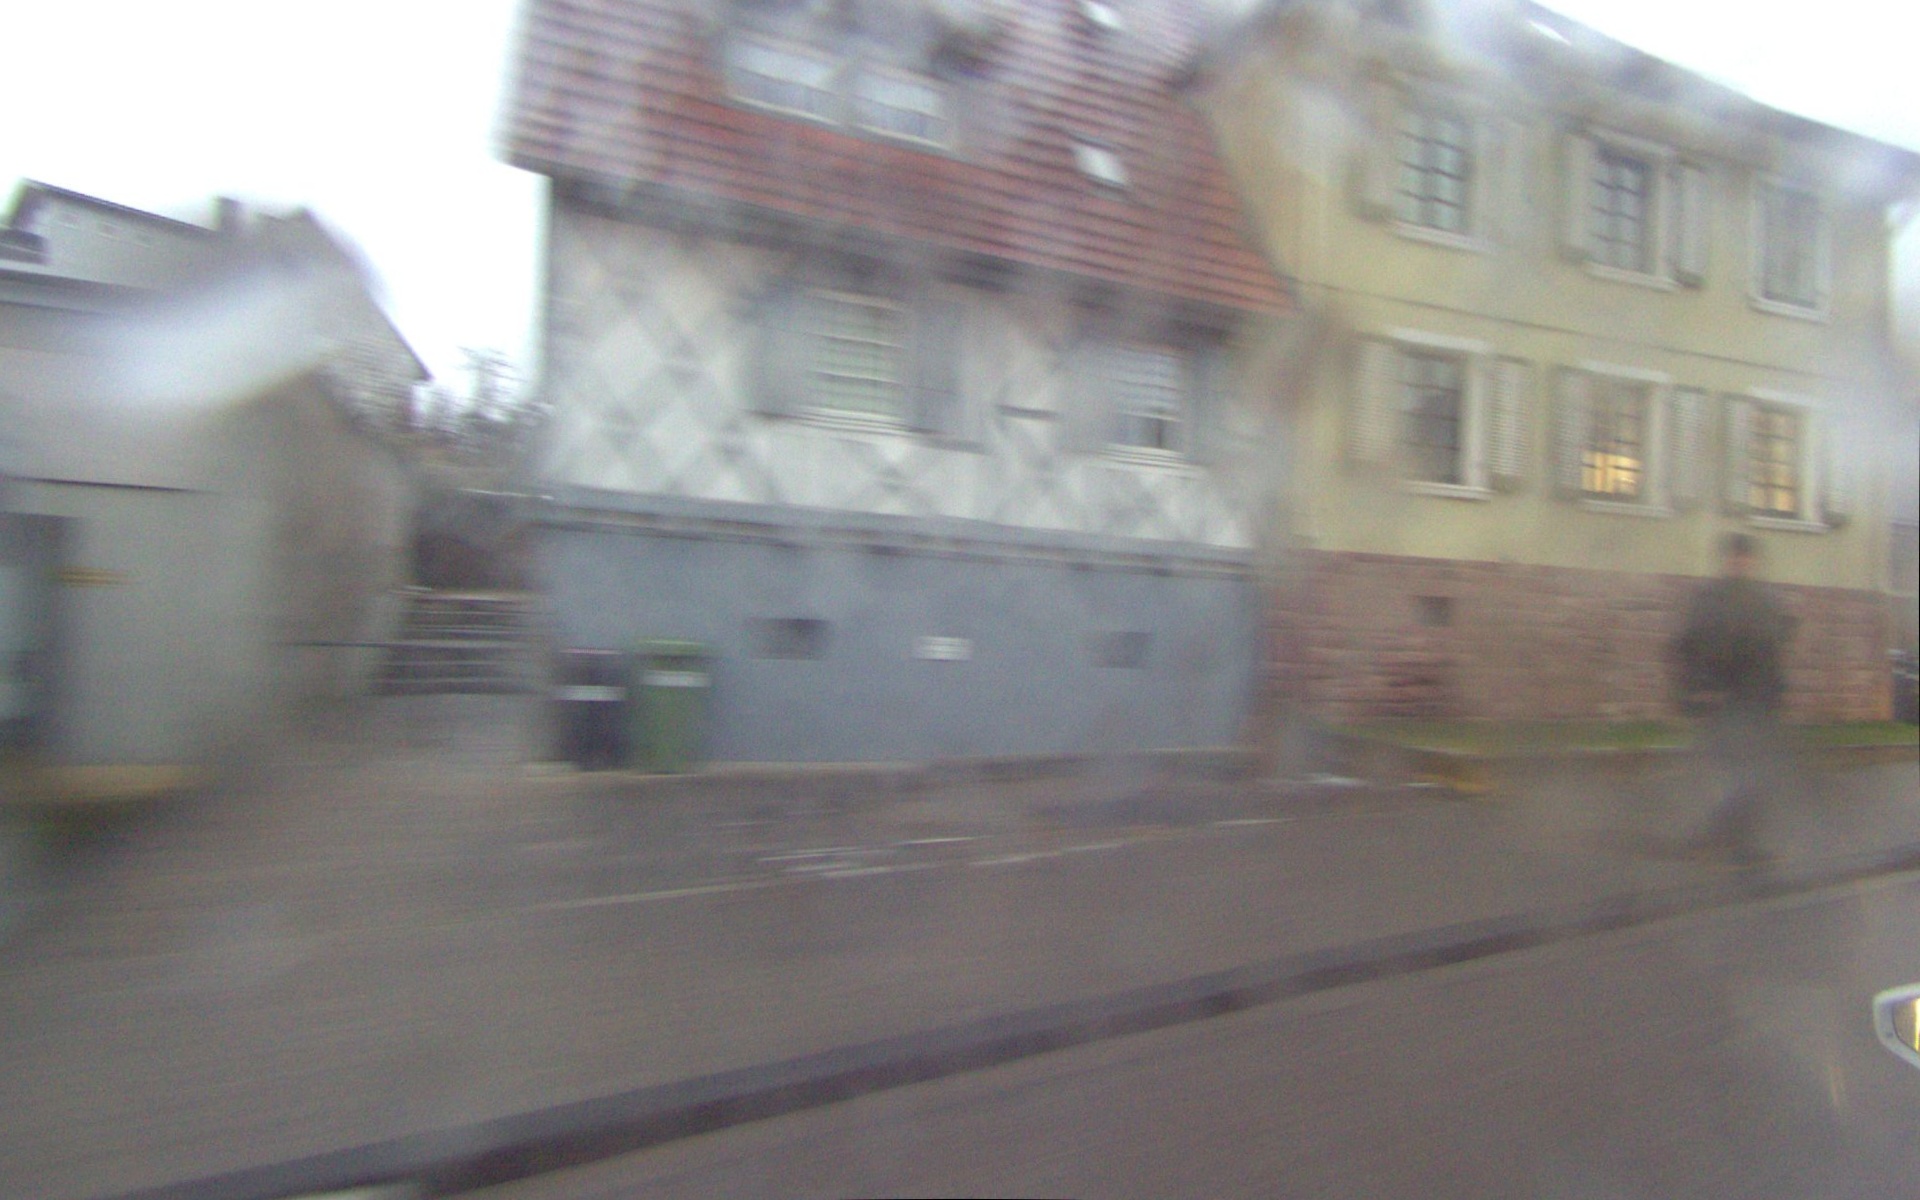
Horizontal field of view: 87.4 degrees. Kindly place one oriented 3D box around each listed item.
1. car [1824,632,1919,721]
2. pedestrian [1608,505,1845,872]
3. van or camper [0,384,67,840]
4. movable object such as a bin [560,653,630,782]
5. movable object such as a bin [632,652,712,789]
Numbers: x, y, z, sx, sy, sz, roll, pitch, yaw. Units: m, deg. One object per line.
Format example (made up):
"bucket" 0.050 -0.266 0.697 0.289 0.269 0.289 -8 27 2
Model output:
"car" 17.266 1.287 16.335 1.862 1.490 4.599 1 -2 -19
"pedestrian" 4.650 0.501 6.121 0.857 2.040 0.781 2 0 -25
"van or camper" -6.463 -0.033 4.224 2.292 2.980 6.042 1 -3 -25
"movable object such as a bin" -2.884 0.910 7.955 0.494 0.961 0.456 1 0 -20
"movable object such as a bin" -2.340 0.951 8.141 0.571 1.034 0.615 1 0 -20
